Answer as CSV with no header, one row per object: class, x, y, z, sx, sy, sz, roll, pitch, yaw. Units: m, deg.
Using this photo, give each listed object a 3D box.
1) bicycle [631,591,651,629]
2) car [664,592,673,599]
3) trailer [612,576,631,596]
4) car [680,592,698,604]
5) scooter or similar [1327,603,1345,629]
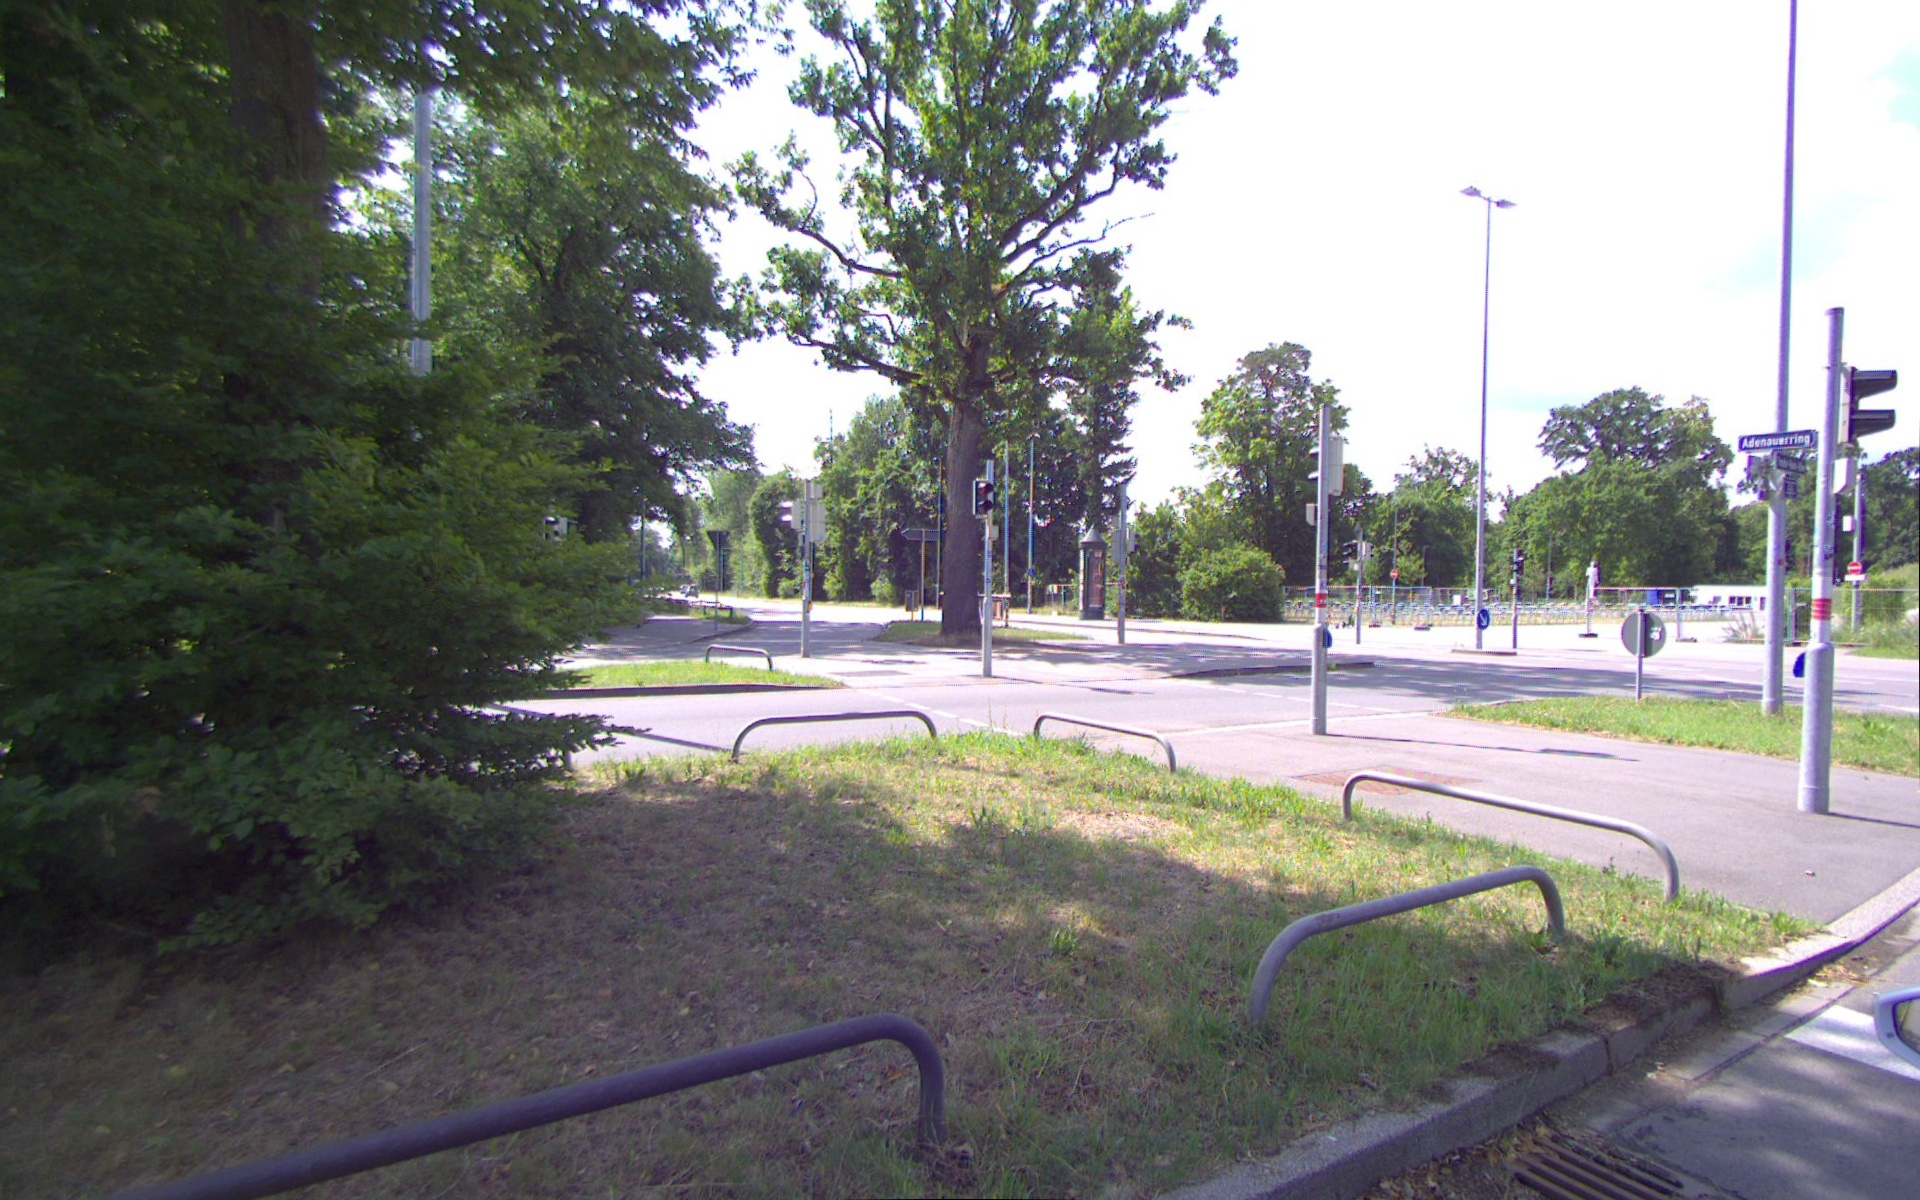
bicycle,-10.435,0.326,32.871,0.413,1.189,1.228,2,0,-8
car,-68.257,-1.070,235.076,1.809,1.514,4.090,2,0,-18
trailer,-42.449,-1.716,125.835,1.971,2.420,3.979,2,0,-22
car,-37.487,-0.260,138.755,1.846,1.529,4.023,2,0,-24
scooter or similar,18.358,0.786,49.017,0.399,1.216,1.312,0,1,0
